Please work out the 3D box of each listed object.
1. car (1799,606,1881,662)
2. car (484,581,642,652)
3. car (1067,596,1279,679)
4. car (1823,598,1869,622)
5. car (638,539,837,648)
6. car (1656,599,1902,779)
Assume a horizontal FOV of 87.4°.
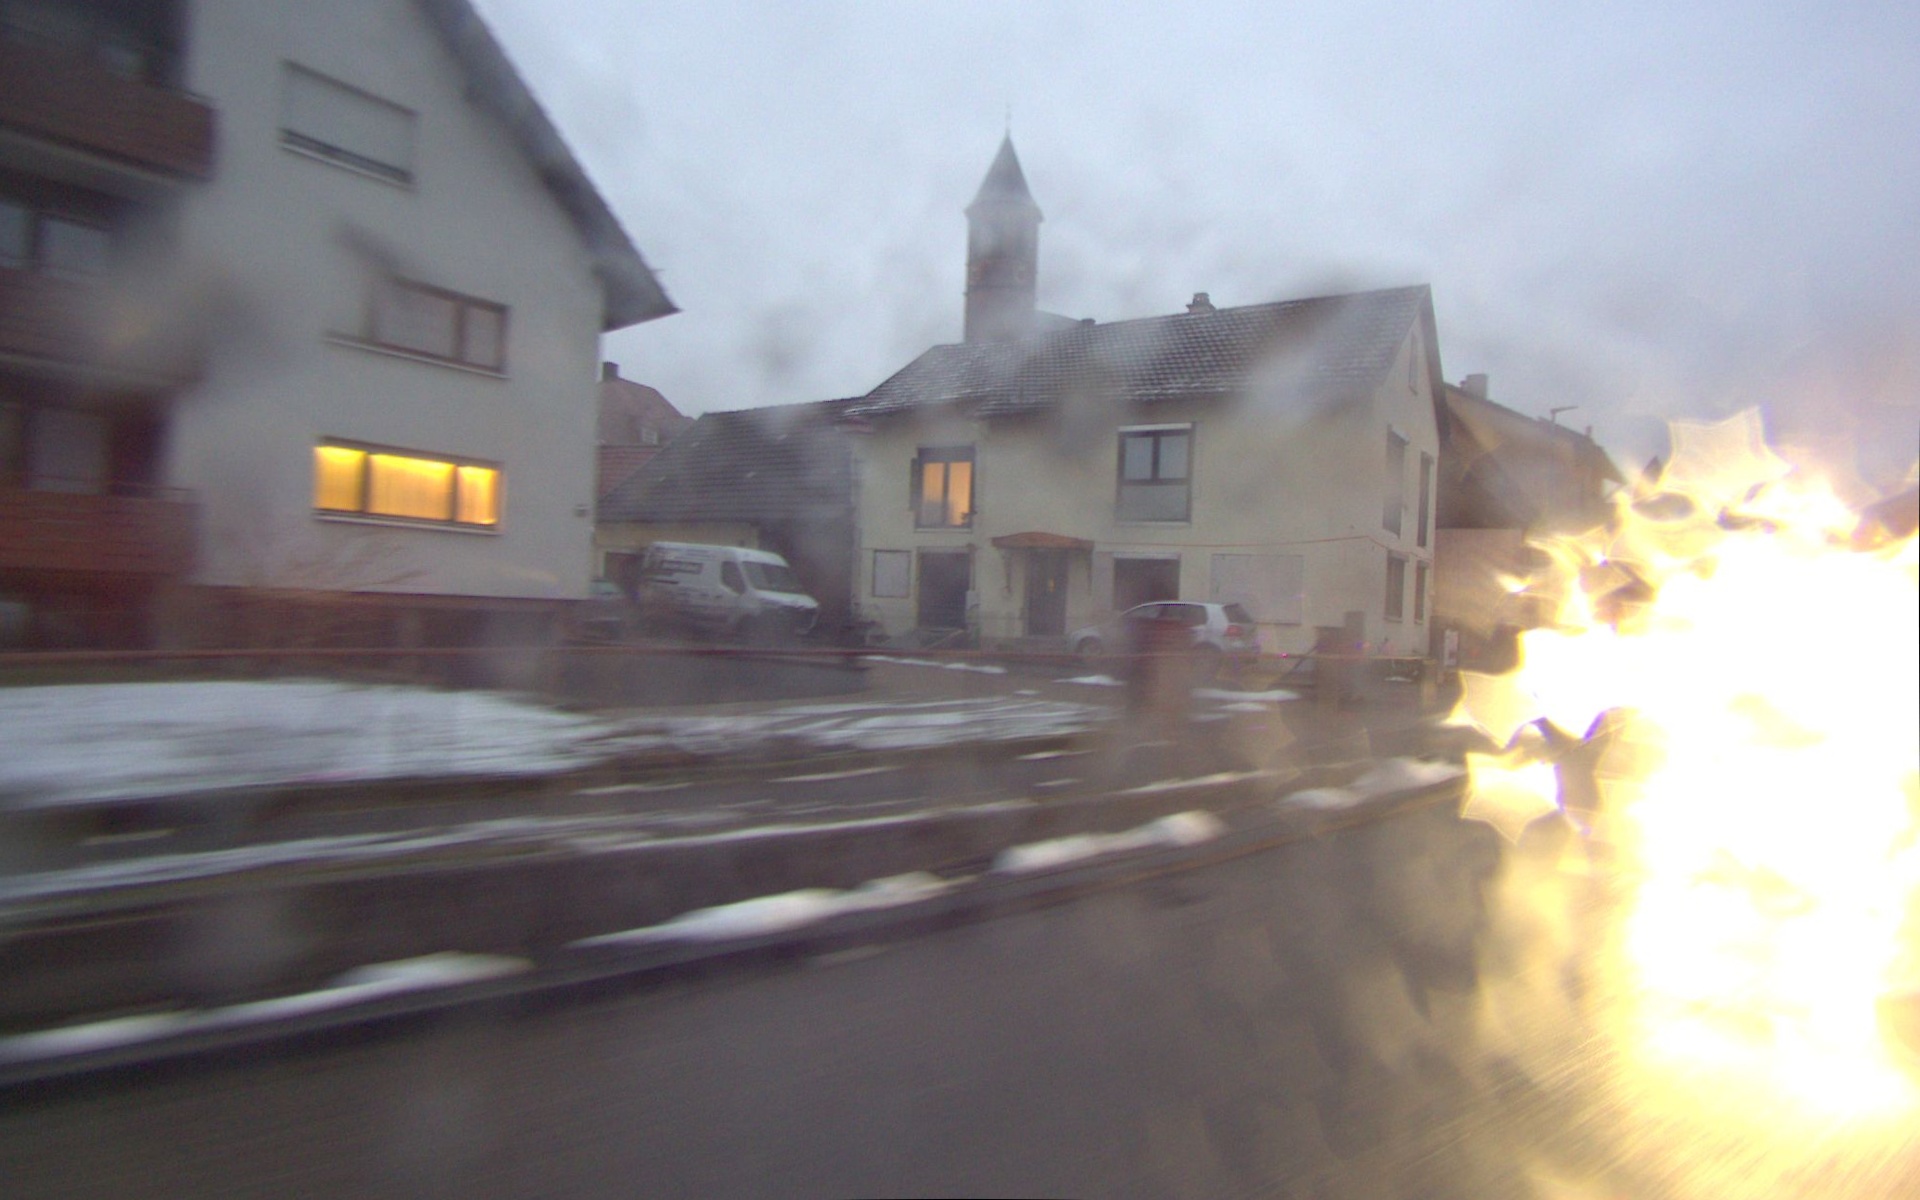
[{"bbox_3d":[29.459,1.083,33.594,1.891,1.675,3.976,2,2,43],"label":"car"},{"bbox_3d":[-9.448,0.344,23.817,3.939,1.506,1.812,2,1,40],"label":"car"},{"bbox_3d":[4.415,0.716,21.005,3.933,1.482,1.815,2,1,35],"label":"car"},{"bbox_3d":[67.658,0.752,76.788,1.966,1.666,3.989,2,1,33],"label":"car"},{"bbox_3d":[-5.868,-0.209,26.149,5.269,2.574,2.204,2,1,38],"label":"car"},{"bbox_3d":[9.469,0.809,11.490,1.857,1.634,4.575,0,0,43],"label":"car"}]
